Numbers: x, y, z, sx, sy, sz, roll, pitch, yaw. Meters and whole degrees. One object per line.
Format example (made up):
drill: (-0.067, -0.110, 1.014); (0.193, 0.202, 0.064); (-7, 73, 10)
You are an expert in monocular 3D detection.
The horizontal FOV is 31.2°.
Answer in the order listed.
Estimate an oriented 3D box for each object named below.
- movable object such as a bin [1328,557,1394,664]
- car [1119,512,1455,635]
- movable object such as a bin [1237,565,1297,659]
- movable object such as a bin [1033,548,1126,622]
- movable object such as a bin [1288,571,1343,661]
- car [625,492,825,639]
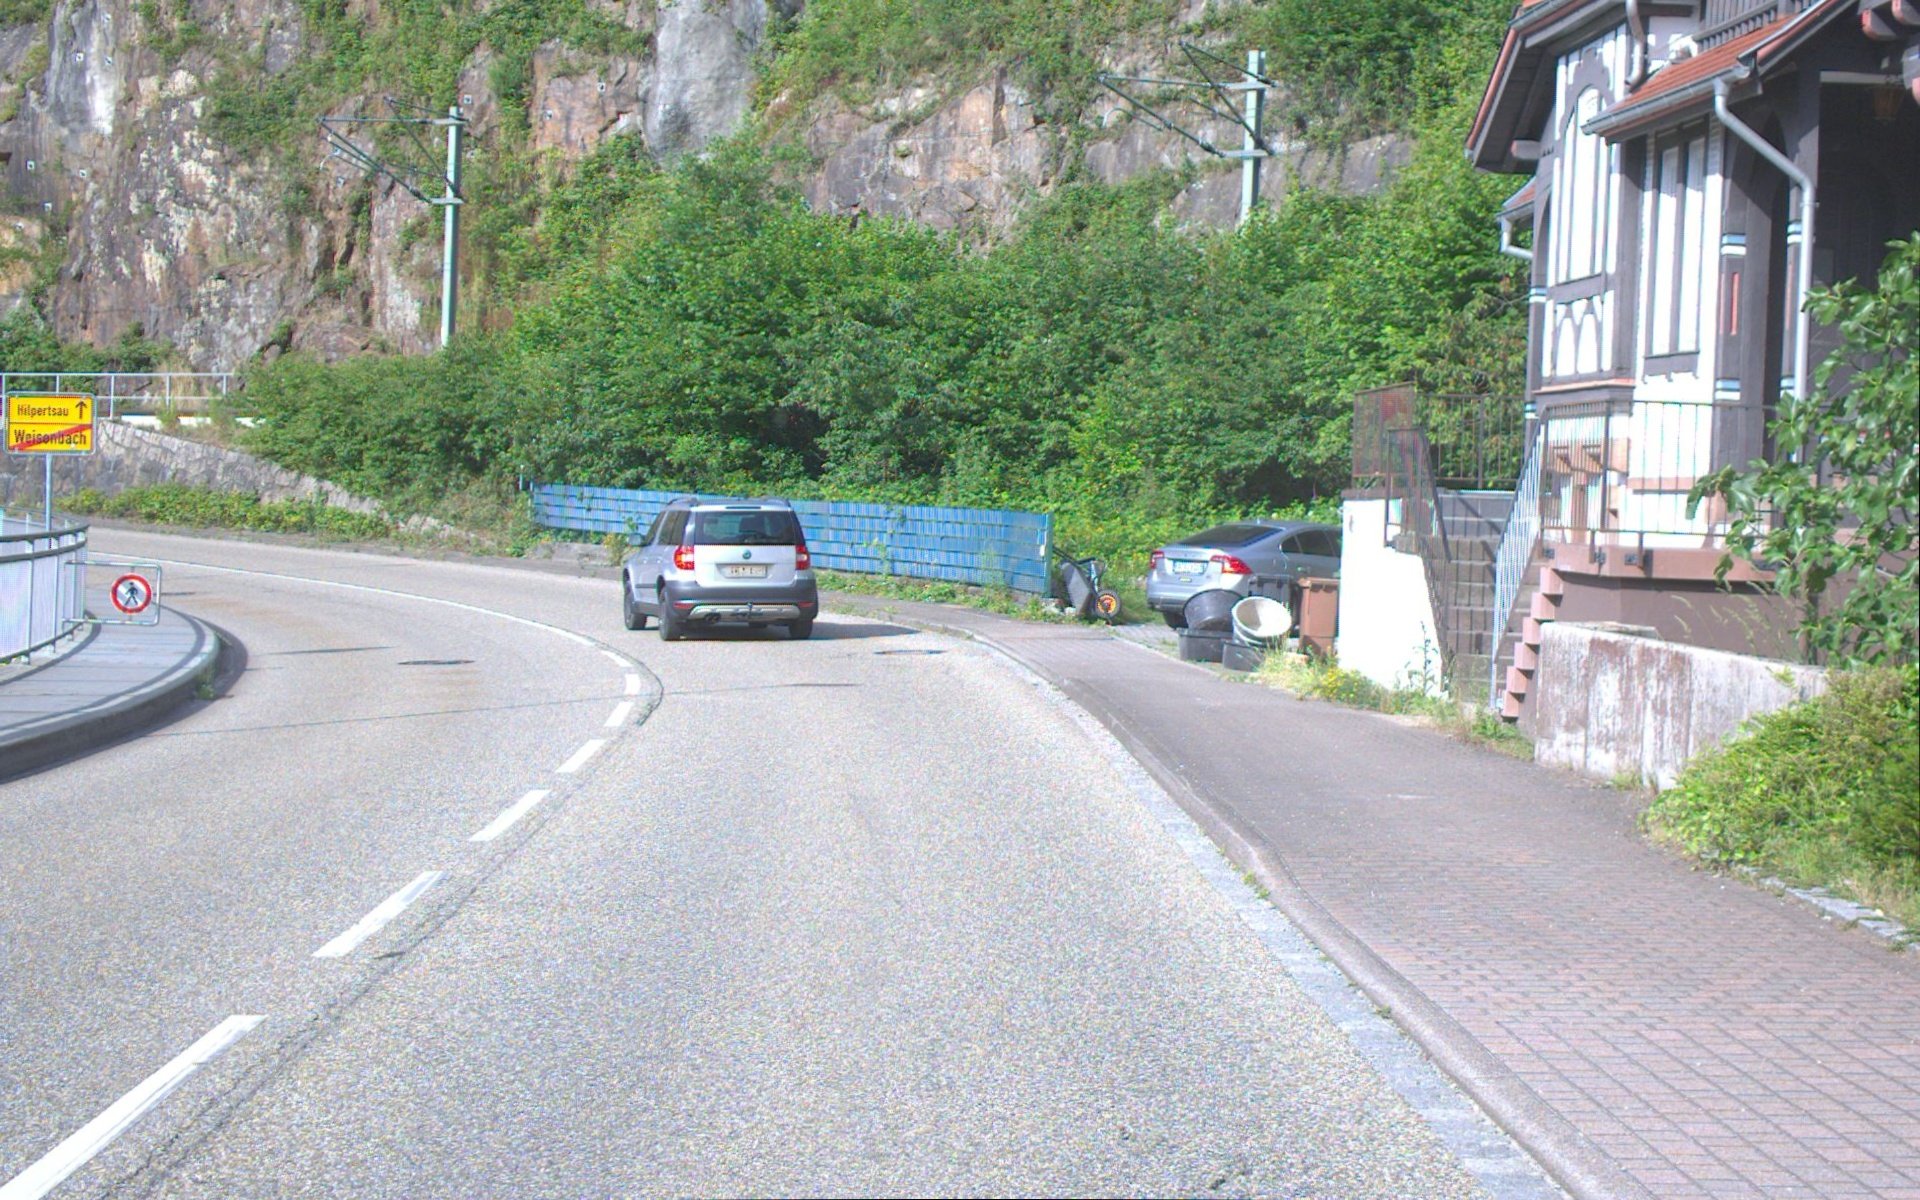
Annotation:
movable object such as a bin: (4.169, 0.104, 35.765); (0.477, 1.059, 0.753); (3, 2, -5)
car: (4.209, -0.324, 43.819); (4.317, 1.464, 1.837); (1, 1, -43)
movable object such as a bin: (3.199, 0.117, 35.852); (0.471, 0.933, 0.653); (3, 2, -5)
movable object such as a bin: (1.541, -0.211, 44.840); (0.855, 0.844, 2.539); (3, 2, -5)
movable object such as a bin: (3.698, 0.167, 35.781); (0.367, 0.897, 0.547); (2, 2, -12)
car: (-2.846, -0.451, 40.910); (1.872, 1.650, 4.001); (-1, 2, -11)
